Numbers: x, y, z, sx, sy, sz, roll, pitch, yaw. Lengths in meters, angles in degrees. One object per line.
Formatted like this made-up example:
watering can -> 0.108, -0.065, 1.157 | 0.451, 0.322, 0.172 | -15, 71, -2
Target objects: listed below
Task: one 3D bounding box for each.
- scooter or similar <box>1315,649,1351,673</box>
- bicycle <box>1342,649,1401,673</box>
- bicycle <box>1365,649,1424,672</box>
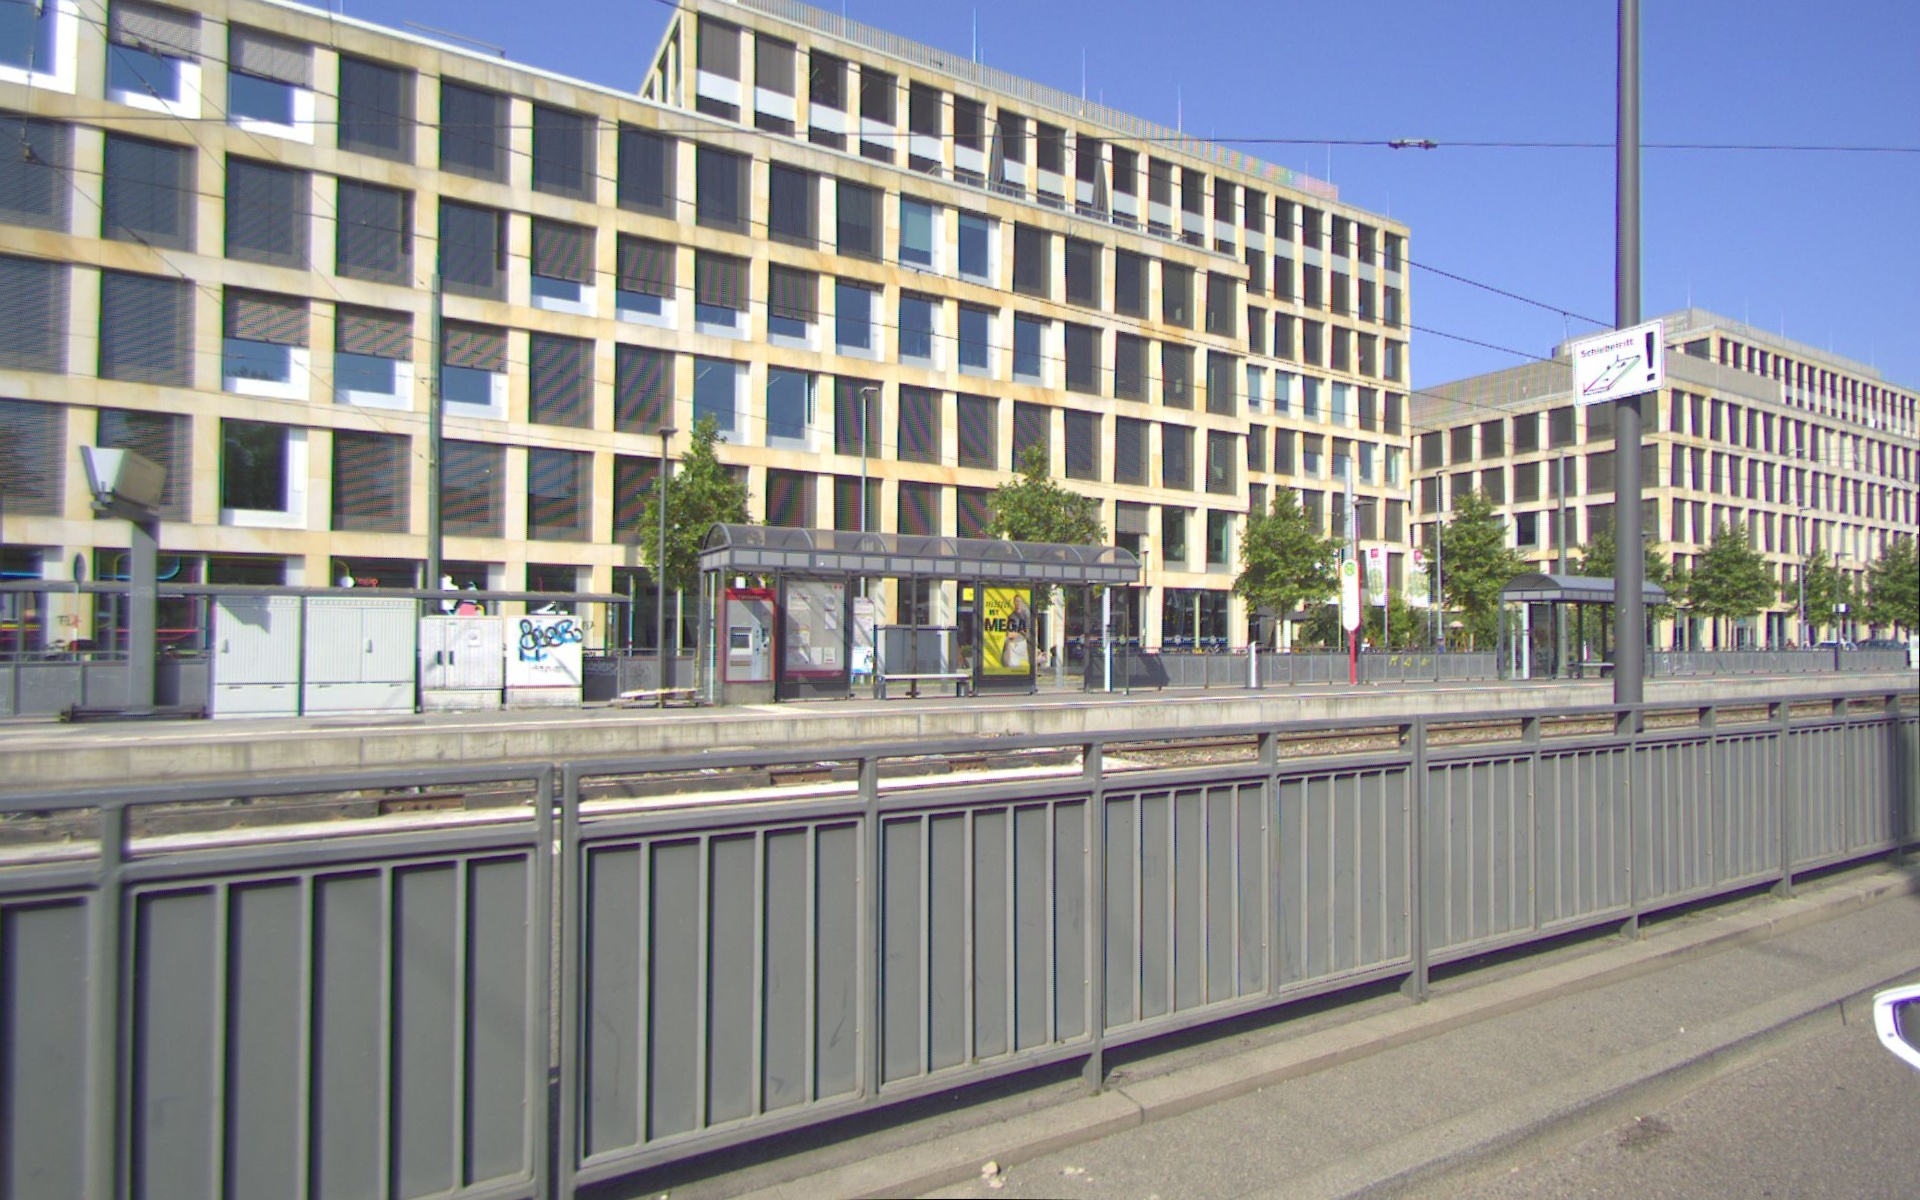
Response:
scooter or similar -> 15.792, 2.574, 42.537 | 0.390, 0.999, 1.515 | 1, -2, -30
bicycle -> 18.295, 2.693, 44.714 | 0.812, 0.999, 2.422 | 1, -3, -30
bicycle -> 19.518, 2.692, 45.191 | 0.812, 0.999, 2.422 | 1, -3, -30
